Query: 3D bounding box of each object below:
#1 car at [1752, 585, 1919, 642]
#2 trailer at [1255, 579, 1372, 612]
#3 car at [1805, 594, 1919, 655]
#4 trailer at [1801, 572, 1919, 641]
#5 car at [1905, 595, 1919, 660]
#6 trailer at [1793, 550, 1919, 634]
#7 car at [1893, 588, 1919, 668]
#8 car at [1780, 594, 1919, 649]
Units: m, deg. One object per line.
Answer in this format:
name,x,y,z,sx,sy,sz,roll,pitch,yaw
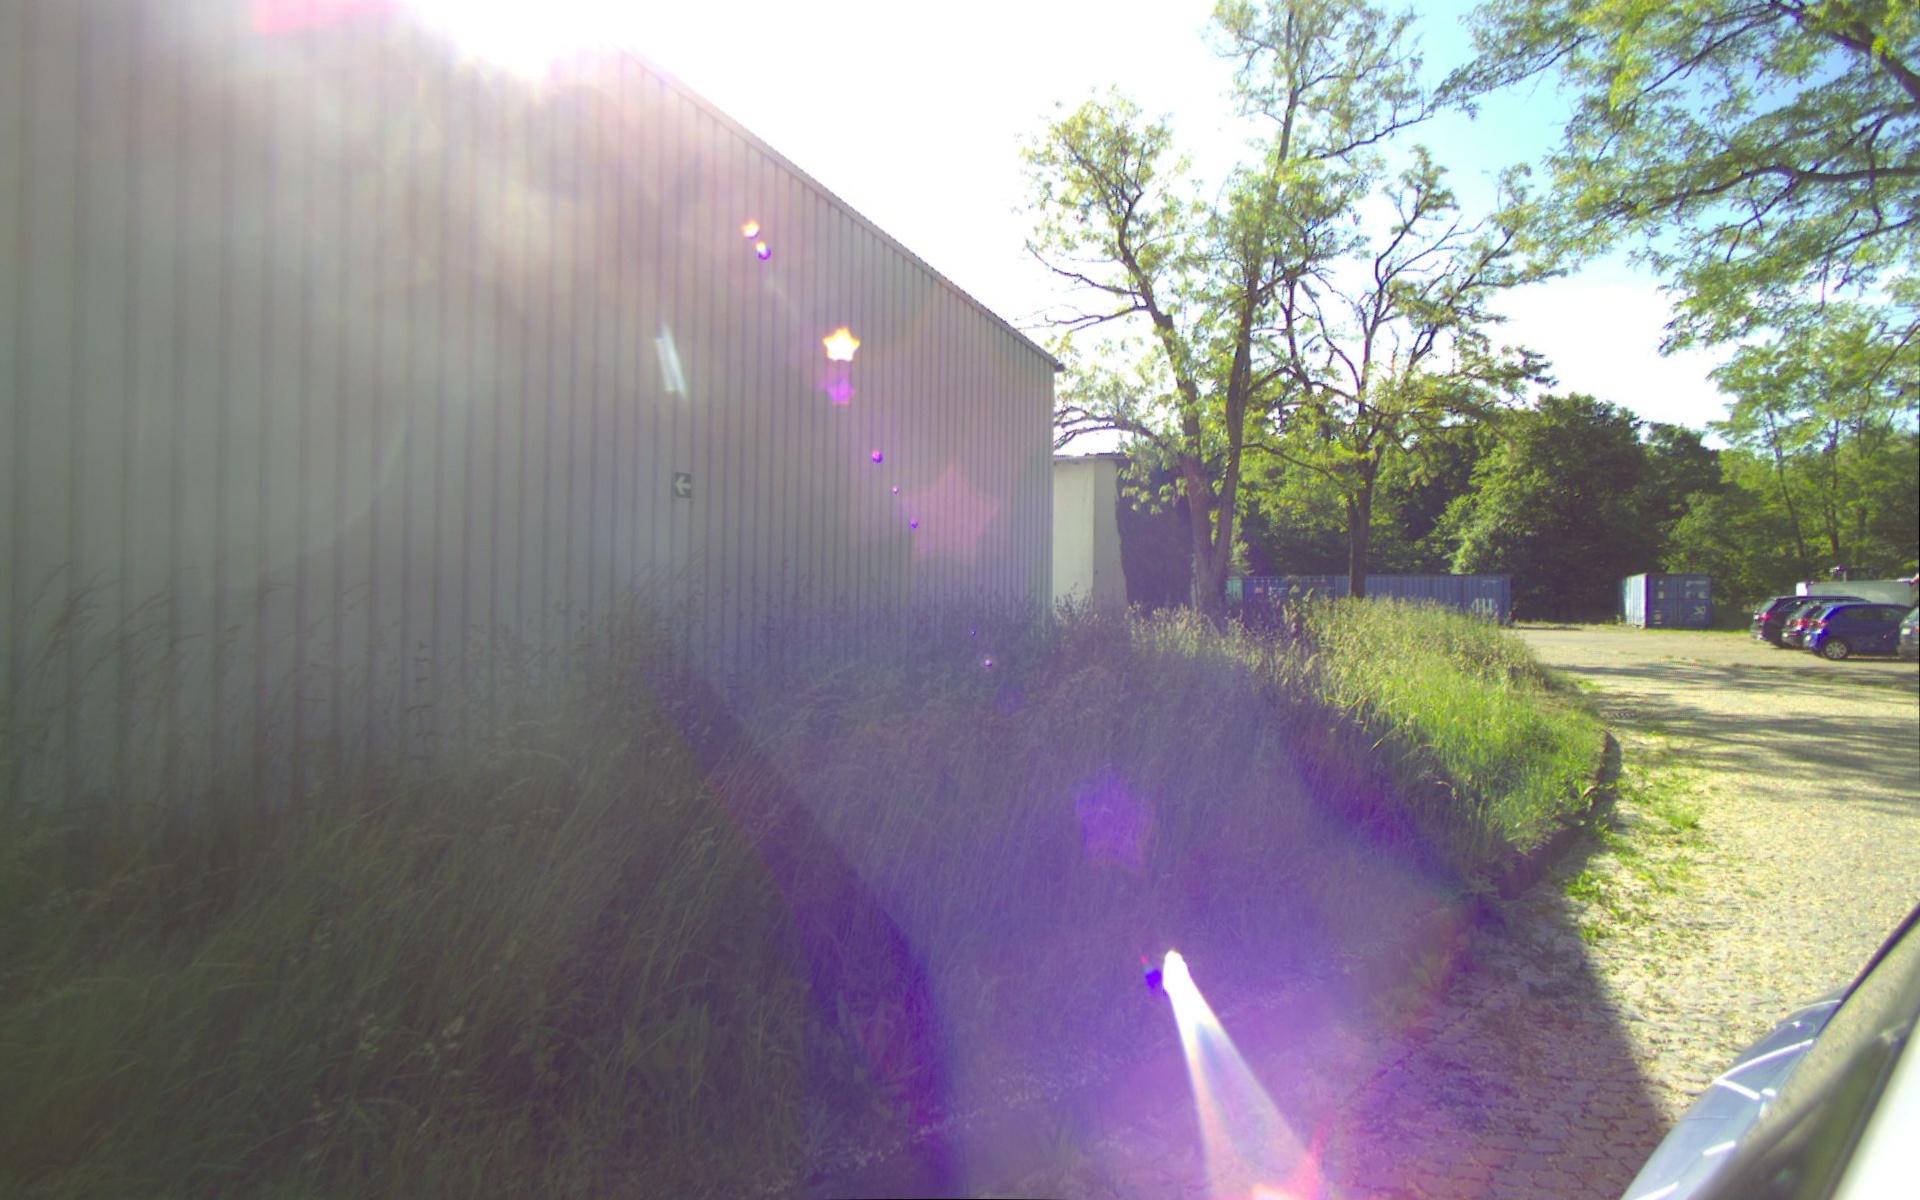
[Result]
car,26.323,0.386,30.091,4.096,1.610,1.950,-1,0,30
trailer,16.553,-0.264,47.380,4.821,1.432,2.621,1,1,30
car,24.032,0.591,25.628,3.759,1.477,1.766,-1,0,31
trailer,28.586,0.185,31.978,2.827,2.076,1.804,-1,0,32
car,23.942,0.606,22.762,3.701,1.469,1.722,-1,0,36
trailer,29.962,-0.241,33.837,2.827,2.571,2.241,-4,-1,31
car,22.135,0.523,20.562,4.229,1.652,1.864,-2,0,26
car,25.255,0.565,27.938,3.757,1.429,1.875,-1,0,30
